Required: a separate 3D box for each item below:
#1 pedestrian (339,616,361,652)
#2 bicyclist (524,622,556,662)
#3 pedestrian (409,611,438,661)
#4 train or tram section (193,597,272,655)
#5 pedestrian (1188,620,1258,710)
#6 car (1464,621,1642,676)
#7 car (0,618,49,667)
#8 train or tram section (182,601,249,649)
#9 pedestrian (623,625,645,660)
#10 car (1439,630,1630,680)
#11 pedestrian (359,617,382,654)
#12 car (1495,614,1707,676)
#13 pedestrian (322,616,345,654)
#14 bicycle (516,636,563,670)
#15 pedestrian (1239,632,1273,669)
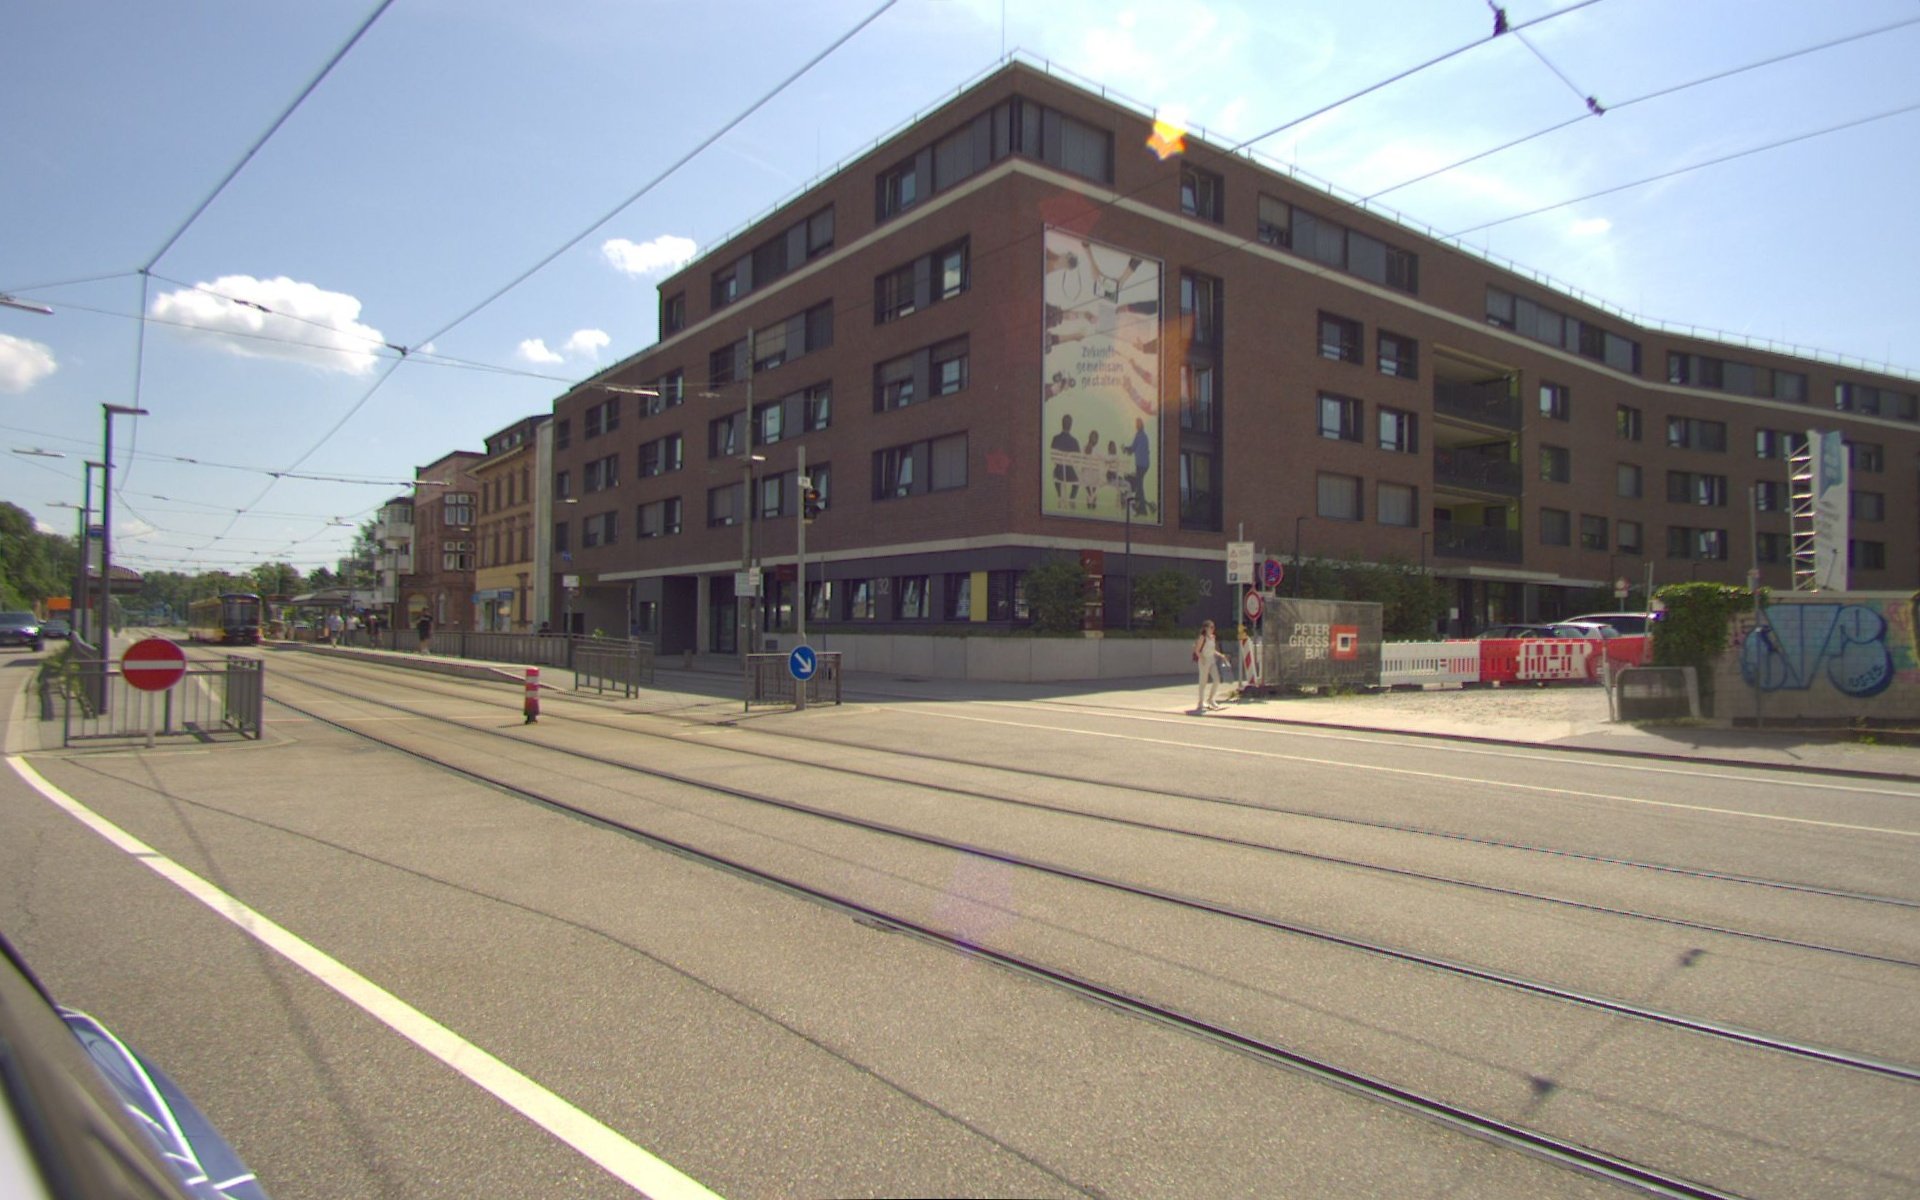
[{"bbox_3d":[-29.619,1.657,49.128,0.750,1.708,0.810,3,-3,-41],"label":"pedestrian"},{"bbox_3d":[-15.939,1.589,38.390,1.066,1.516,0.749,-2,-3,44],"label":"bicyclist"},{"bbox_3d":[-19.593,1.319,36.941,0.677,1.773,1.035,3,-3,-41],"label":"pedestrian"},{"bbox_3d":[-51.056,1.804,70.742,3.194,3.594,16.376,2,-3,-40],"label":"train or tram section"},{"bbox_3d":[4.991,1.204,19.187,0.751,1.608,1.000,-3,1,-45],"label":"pedestrian"},{"bbox_3d":[16.574,1.310,28.457,1.647,1.431,4.009,1,-2,-36],"label":"car"},{"bbox_3d":[-41.238,1.818,44.122,1.968,2.029,4.007,2,-2,-39],"label":"car"},{"bbox_3d":[-62.755,2.065,84.980,3.209,3.594,20.535,2,-3,-40],"label":"train or tram section"},{"bbox_3d":[-14.775,1.927,45.915,0.677,1.608,0.762,3,-3,-41],"label":"pedestrian"},{"bbox_3d":[14.921,1.390,26.505,1.796,1.170,4.013,-1,-1,-26],"label":"car"},{"bbox_3d":[-25.868,1.565,44.428,0.677,1.608,0.762,3,-3,-41],"label":"pedestrian"},{"bbox_3d":[18.804,1.294,29.913,2.088,1.663,4.848,2,-2,-37],"label":"car"},{"bbox_3d":[-30.359,1.688,49.017,0.750,1.813,0.953,3,-3,-41],"label":"pedestrian"},{"bbox_3d":[-15.959,1.986,38.398,0.807,1.232,2.391,3,-3,-44],"label":"bicycle"},{"bbox_3d":[9.163,1.551,31.336,0.749,1.139,0.928,0,-2,-2],"label":"pedestrian"}]
